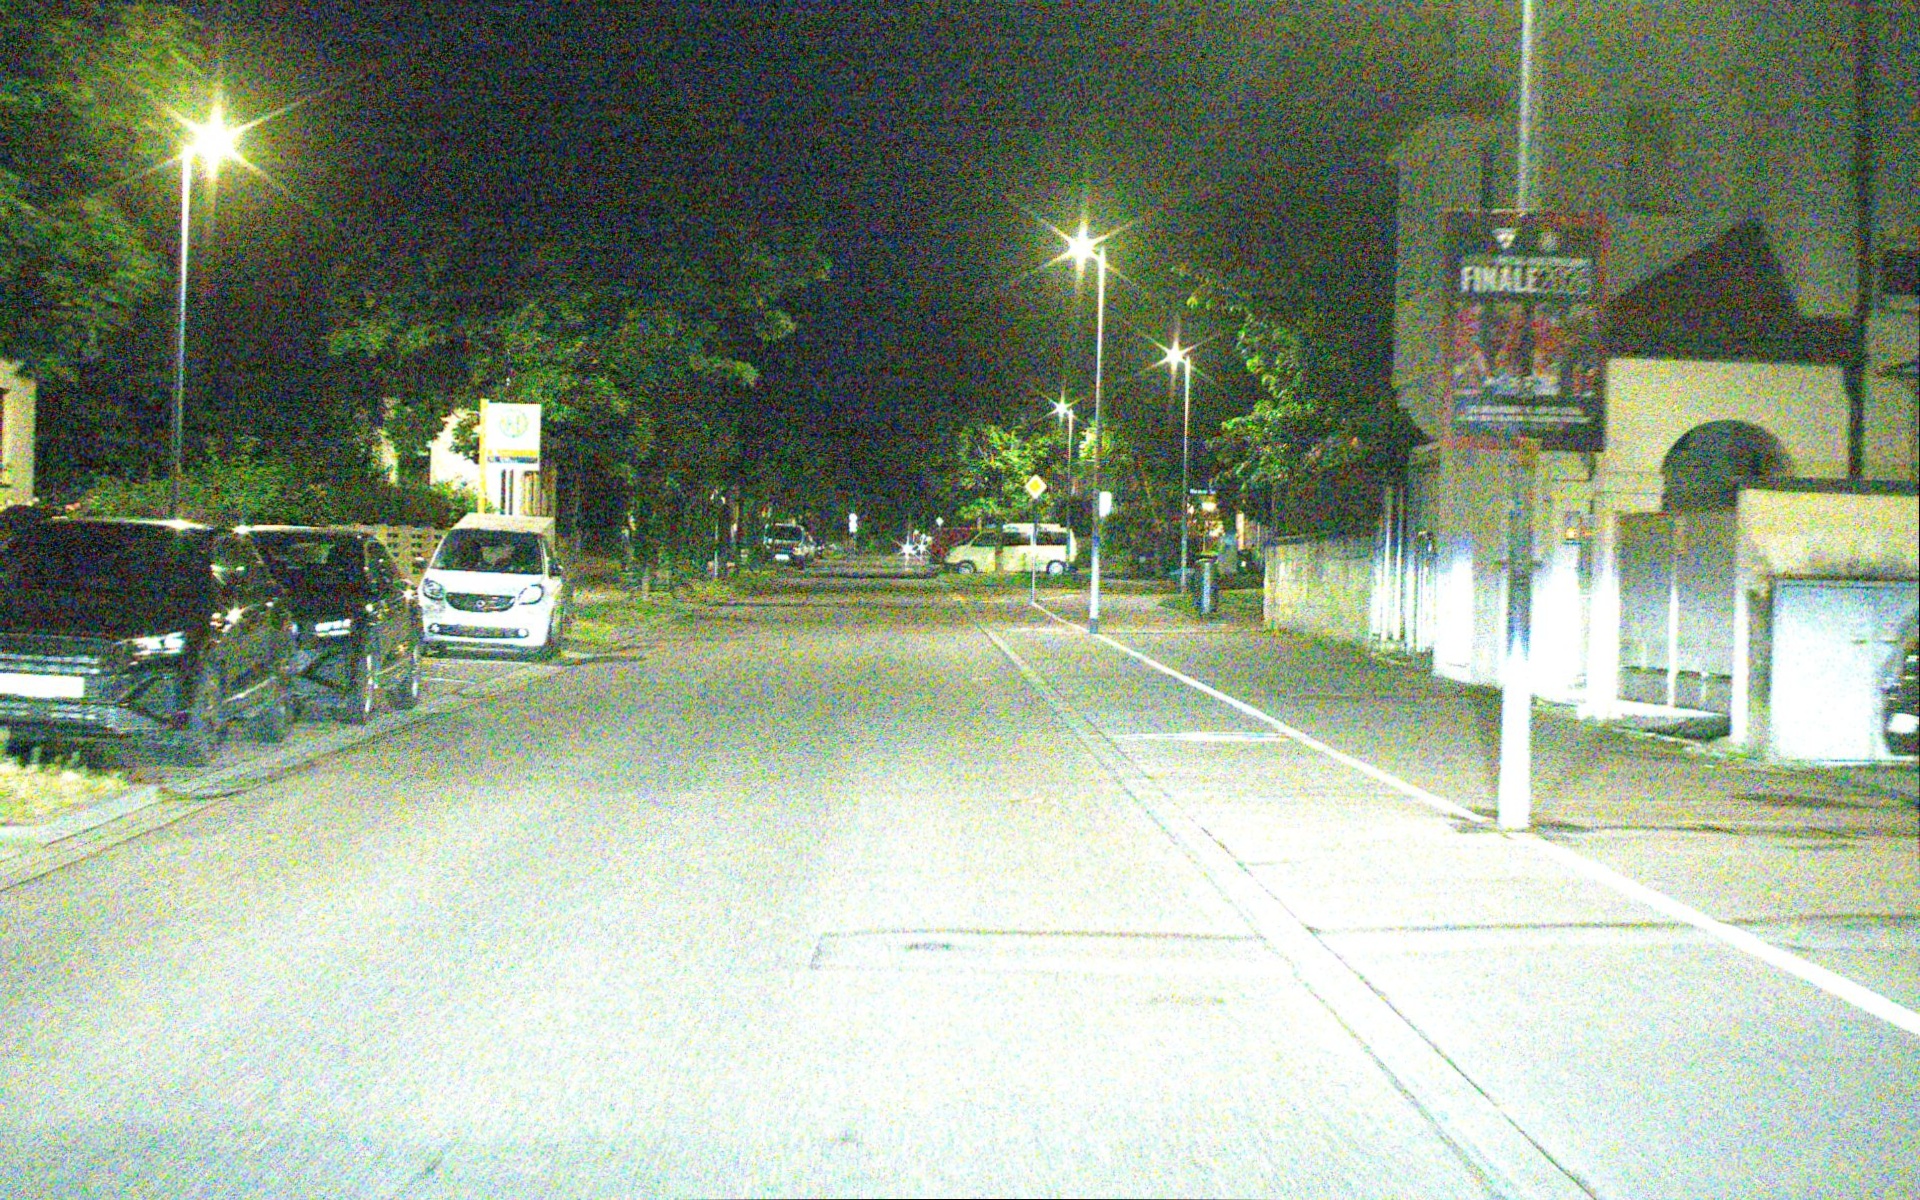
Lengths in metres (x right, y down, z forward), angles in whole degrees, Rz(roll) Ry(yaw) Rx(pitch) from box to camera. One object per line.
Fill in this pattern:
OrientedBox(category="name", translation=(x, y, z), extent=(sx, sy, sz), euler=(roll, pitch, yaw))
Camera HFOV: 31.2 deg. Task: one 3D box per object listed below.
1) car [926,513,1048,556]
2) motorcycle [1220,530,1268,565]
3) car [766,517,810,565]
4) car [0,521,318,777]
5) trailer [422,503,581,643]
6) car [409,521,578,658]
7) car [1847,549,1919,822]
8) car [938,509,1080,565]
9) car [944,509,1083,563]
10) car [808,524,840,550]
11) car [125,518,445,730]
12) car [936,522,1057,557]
OrientedBox(category="car", translation=(1.227, -2.915, 152.838), extent=(5.184, 1.880, 2.101), euler=(0, 1, 9))
OrientedBox(category="motorcycle", translation=(11.102, -2.062, 134.144), extent=(1.071, 1.322, 2.704), euler=(2, 2, 23))
OrientedBox(category="car", translation=(-7.561, -2.604, 151.553), extent=(1.824, 1.980, 4.466), euler=(3, 1, -2))
OrientedBox(category="car", translation=(-5.484, 0.247, 22.711), extent=(1.688, 1.505, 4.279), euler=(1, 1, 0))
OrientedBox(category="trailer", translation=(-5.965, -0.370, 44.979), extent=(1.448, 1.682, 3.426), euler=(3, 1, 1))
OrientedBox(category="car", translation=(-5.632, -0.157, 41.767), extent=(1.671, 1.516, 2.979), euler=(3, 1, -2))
OrientedBox(category="car", translation=(7.048, 0.485, 19.255), extent=(3.711, 1.468, 1.730), euler=(1, 1, 2))
OrientedBox(category="car", translation=(1.819, -2.359, 128.076), extent=(5.182, 2.007, 2.102), euler=(-1, 1, -2))
OrientedBox(category="car", translation=(2.029, -2.450, 131.142), extent=(5.182, 2.007, 2.102), euler=(-1, 1, -2))
OrientedBox(category="car", translation=(-7.276, -3.380, 183.374), extent=(1.683, 1.326, 3.600), euler=(1, 1, -2))
OrientedBox(category="car", translation=(-5.347, 0.131, 27.750), extent=(1.766, 1.514, 4.279), euler=(2, 1, -1))
OrientedBox(category="car", translation=(1.575, -2.634, 150.128), extent=(5.182, 1.464, 2.102), euler=(-1, 1, -2))
